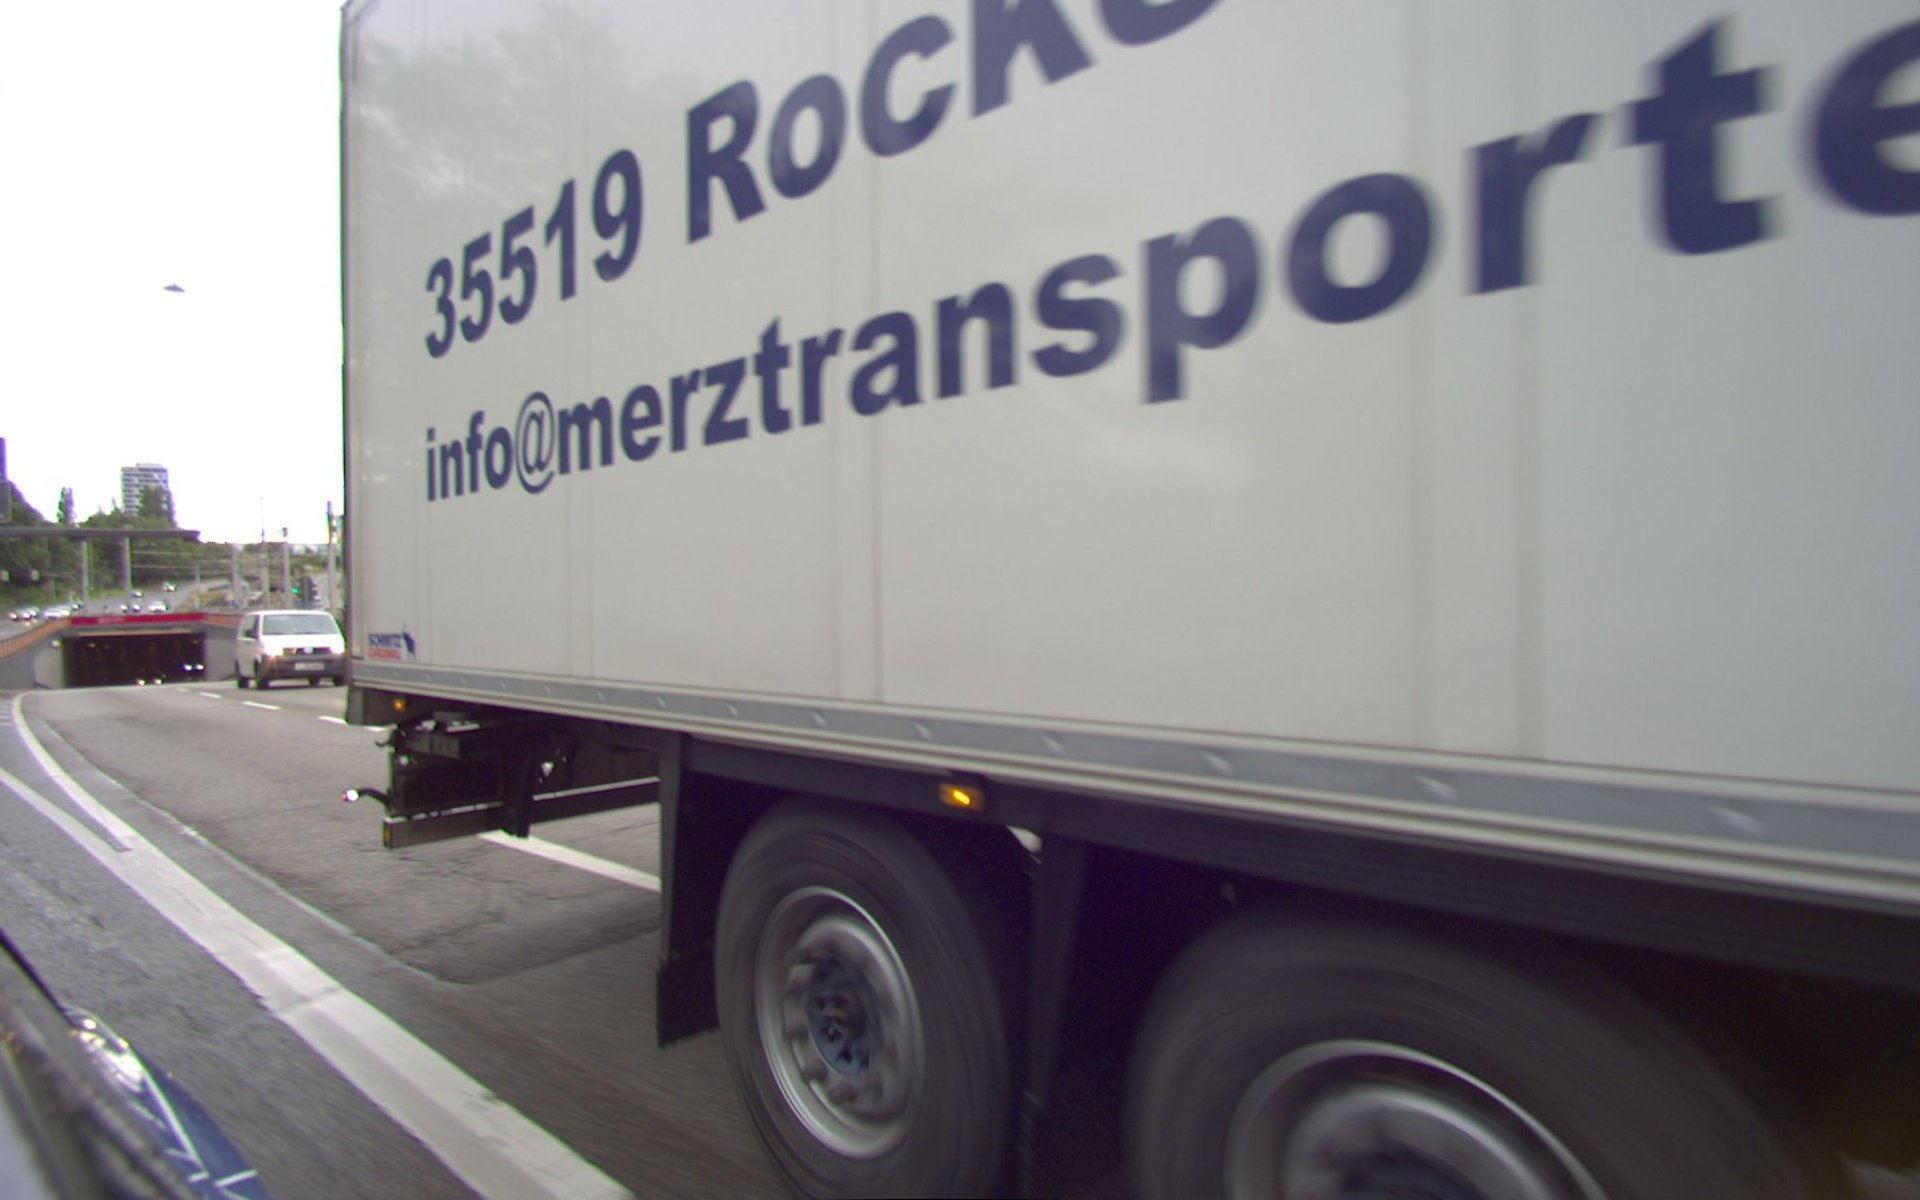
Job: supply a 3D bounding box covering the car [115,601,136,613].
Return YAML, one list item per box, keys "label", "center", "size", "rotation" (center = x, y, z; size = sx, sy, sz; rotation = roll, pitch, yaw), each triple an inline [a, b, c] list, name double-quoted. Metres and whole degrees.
- label: "car"
  center: [-122.487, 1.024, 148.551]
  size: [1.710, 1.599, 4.013]
  rotation: [-2, 3, -30]

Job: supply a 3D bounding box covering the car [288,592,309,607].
- label: "car"
  center: [-98.364, -0.089, 150.502]
  size: [1.965, 2.028, 4.014]
  rotation: [-1, 3, -25]

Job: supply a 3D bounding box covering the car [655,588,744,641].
- label: "car"
  center: [-11.542, 0.558, 44.659]
  size: [1.967, 2.133, 5.122]
  rotation: [-3, 2, -36]

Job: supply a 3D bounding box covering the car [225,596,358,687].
- label: "car"
  center: [-17.206, 1.114, 25.957]
  size: [1.970, 2.042, 4.689]
  rotation: [-1, -3, -44]

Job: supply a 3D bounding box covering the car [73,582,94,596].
- label: "car"
  center: [-105.418, -1.289, 121.750]
  size: [1.774, 1.523, 4.007]
  rotation: [-2, 0, -39]

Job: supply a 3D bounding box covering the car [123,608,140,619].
- label: "car"
  center: [-122.461, 1.924, 149.659]
  size: [1.774, 1.482, 4.008]
  rotation: [-2, 2, -38]

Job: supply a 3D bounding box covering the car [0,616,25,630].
- label: "car"
  center: [-115.716, 2.825, 123.596]
  size: [1.860, 1.482, 4.017]
  rotation: [-2, 0, -37]

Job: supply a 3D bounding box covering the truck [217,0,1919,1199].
- label: "truck"
  center: [2.683, -0.844, 1.041]
  size: [13.022, 4.229, 2.734]
  rotation: [-2, -1, 41]

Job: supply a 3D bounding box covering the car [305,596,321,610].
- label: "car"
  center: [-102.603, 0.495, 160.501]
  size: [1.967, 2.028, 4.012]
  rotation: [-2, 4, -33]

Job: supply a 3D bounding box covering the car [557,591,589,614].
- label: "car"
  center: [-38.013, 0.211, 99.326]
  size: [1.967, 2.028, 4.215]
  rotation: [-2, 4, -35]

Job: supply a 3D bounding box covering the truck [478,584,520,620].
- label: "truck"
  center: [-45.808, 0.165, 100.429]
  size: [5.288, 3.209, 1.971]
  rotation: [3, 4, 44]
